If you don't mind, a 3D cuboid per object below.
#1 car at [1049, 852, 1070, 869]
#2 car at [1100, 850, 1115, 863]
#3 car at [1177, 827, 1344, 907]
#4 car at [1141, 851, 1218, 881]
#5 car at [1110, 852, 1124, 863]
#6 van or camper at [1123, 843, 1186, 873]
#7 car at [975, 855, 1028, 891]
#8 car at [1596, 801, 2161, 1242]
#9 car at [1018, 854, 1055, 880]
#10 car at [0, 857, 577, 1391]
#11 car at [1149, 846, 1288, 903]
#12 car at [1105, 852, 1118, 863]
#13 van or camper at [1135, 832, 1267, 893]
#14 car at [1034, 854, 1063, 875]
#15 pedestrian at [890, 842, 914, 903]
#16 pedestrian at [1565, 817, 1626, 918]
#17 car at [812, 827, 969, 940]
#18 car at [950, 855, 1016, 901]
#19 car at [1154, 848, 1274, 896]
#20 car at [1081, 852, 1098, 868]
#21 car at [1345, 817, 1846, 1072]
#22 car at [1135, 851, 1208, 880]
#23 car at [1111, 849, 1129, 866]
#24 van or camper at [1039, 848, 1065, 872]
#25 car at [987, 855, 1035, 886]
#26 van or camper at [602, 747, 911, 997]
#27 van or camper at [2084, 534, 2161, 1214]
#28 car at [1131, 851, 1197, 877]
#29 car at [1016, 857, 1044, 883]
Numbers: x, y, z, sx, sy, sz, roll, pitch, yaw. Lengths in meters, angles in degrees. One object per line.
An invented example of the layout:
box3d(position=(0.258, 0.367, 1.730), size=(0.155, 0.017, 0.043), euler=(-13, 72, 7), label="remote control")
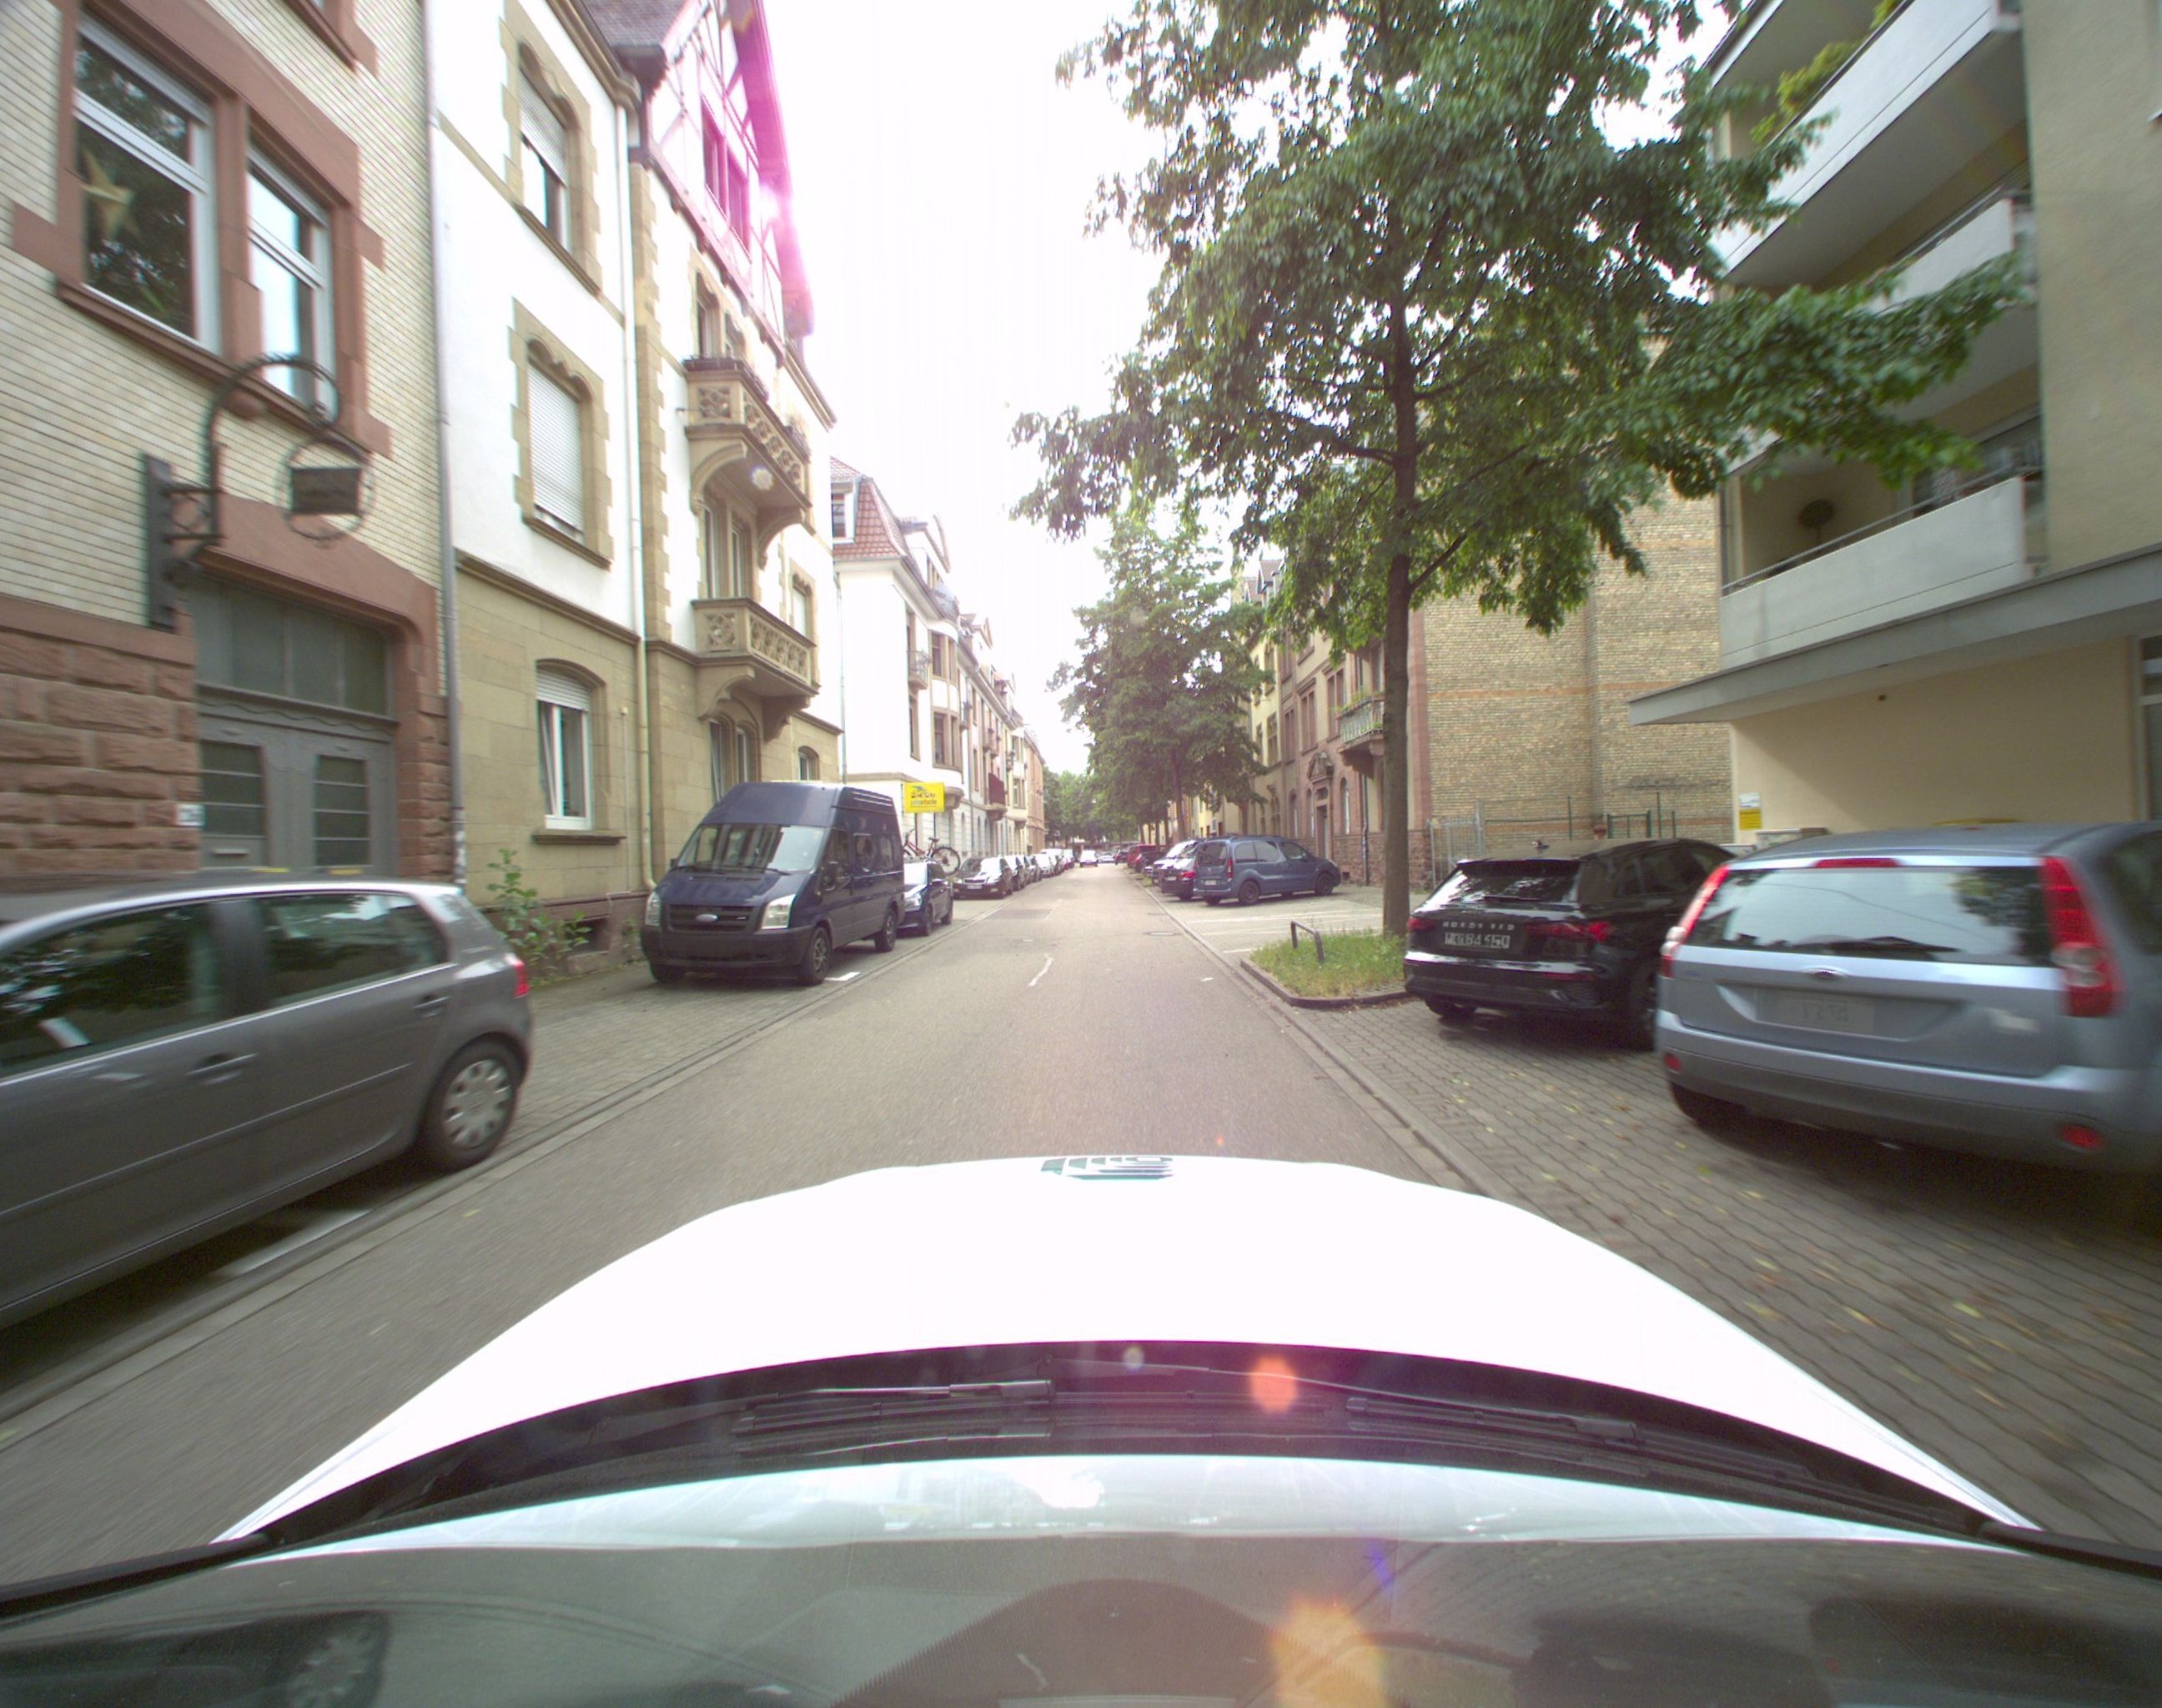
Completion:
box3d(position=(-2.091, 0.594, 80.876), size=(1.779, 1.455, 3.889), euler=(-5, 0, 1), label="car")
box3d(position=(3.710, 0.383, 113.530), size=(1.986, 1.794, 4.000), euler=(-1, -1, 1), label="car")
box3d(position=(5.052, 0.343, 22.812), size=(4.197, 1.869, 1.981), euler=(-4, -1, -29), label="car")
box3d(position=(5.083, 0.617, 42.381), size=(3.703, 1.408, 1.573), euler=(-2, 0, -4), label="car")
box3d(position=(5.183, 0.489, 118.770), size=(1.864, 1.530, 3.840), euler=(-2, 0, 1), label="car")
box3d(position=(5.369, 0.280, 59.267), size=(4.169, 2.085, 1.935), euler=(-2, 0, -27), label="van or camper")
box3d(position=(-3.348, 0.771, 34.836), size=(1.822, 1.426, 3.802), euler=(1, 0, 1), label="car")
box3d(position=(4.594, 0.526, 4.356), size=(3.436, 1.441, 1.655), euler=(-4, 0, -30), label="car")
box3d(position=(-2.762, 0.802, 51.895), size=(1.986, 1.475, 4.001), euler=(-2, 0, 2), label="car")
box3d(position=(-3.817, 0.761, 2.733), size=(1.661, 1.473, 4.001), euler=(-1, 0, 2), label="car")
box3d(position=(4.344, 0.602, 25.652), size=(4.035, 1.559, 1.867), euler=(-2, 0, -30), label="car")
box3d(position=(4.652, 0.509, 123.289), size=(1.864, 1.530, 4.001), euler=(-2, 0, 1), label="car")
box3d(position=(4.669, 0.289, 31.546), size=(4.805, 2.137, 2.036), euler=(-2, 0, -30), label="van or camper")
box3d(position=(-2.311, 0.752, 58.260), size=(1.779, 1.374, 3.508), euler=(-2, 0, 1), label="car")
box3d(position=(-5.172, 0.520, 23.568), size=(0.543, 1.740, 0.656), euler=(0, 0, -1), label="pedestrian")
box3d(position=(8.080, 0.209, 12.809), size=(0.574, 1.540, 0.581), euler=(-1, 0, 1), label="pedestrian")
box3d(position=(-3.829, 0.545, 17.359), size=(1.986, 2.013, 4.893), euler=(-2, 0, 2), label="car")
box3d(position=(-3.421, 0.799, 29.106), size=(1.783, 1.480, 4.023), euler=(-1, 0, 1), label="car")
box3d(position=(4.733, 0.599, 28.883), size=(3.883, 1.499, 1.786), euler=(-2, 0, -28), label="car")
box3d(position=(0.974, 0.657, 88.661), size=(1.814, 1.645, 3.754), euler=(-1, -1, 1), label="car")
box3d(position=(4.520, 0.536, 6.986), size=(4.331, 1.392, 1.903), euler=(-4, 0, -32), label="car")
box3d(position=(4.990, 0.635, 45.201), size=(3.754, 1.465, 1.727), euler=(-2, 0, -4), label="car")
box3d(position=(4.530, 0.409, 96.133), size=(1.986, 2.013, 4.001), euler=(1, 0, 1), label="car")
box3d(position=(-2.394, 0.485, 68.669), size=(1.875, 1.967, 4.409), euler=(-2, 0, 2), label="van or camper")
box3d(position=(-3.364, 0.775, 39.793), size=(1.940, 1.403, 4.001), euler=(1, 0, 1), label="car")
box3d(position=(-4.015, 0.186, 11.346), size=(2.001, 2.651, 5.318), euler=(1, 0, 2), label="van or camper")
box3d(position=(4.474, 0.248, 1.541), size=(4.752, 1.994, 1.984), euler=(-4, -2, -24), label="van or camper")
box3d(position=(5.011, 0.607, 49.606), size=(3.754, 1.465, 1.727), euler=(-2, 0, -4), label="car")
box3d(position=(-2.777, 0.876, 44.607), size=(1.205, 1.309, 3.261), euler=(-2, 0, 1), label="car")
